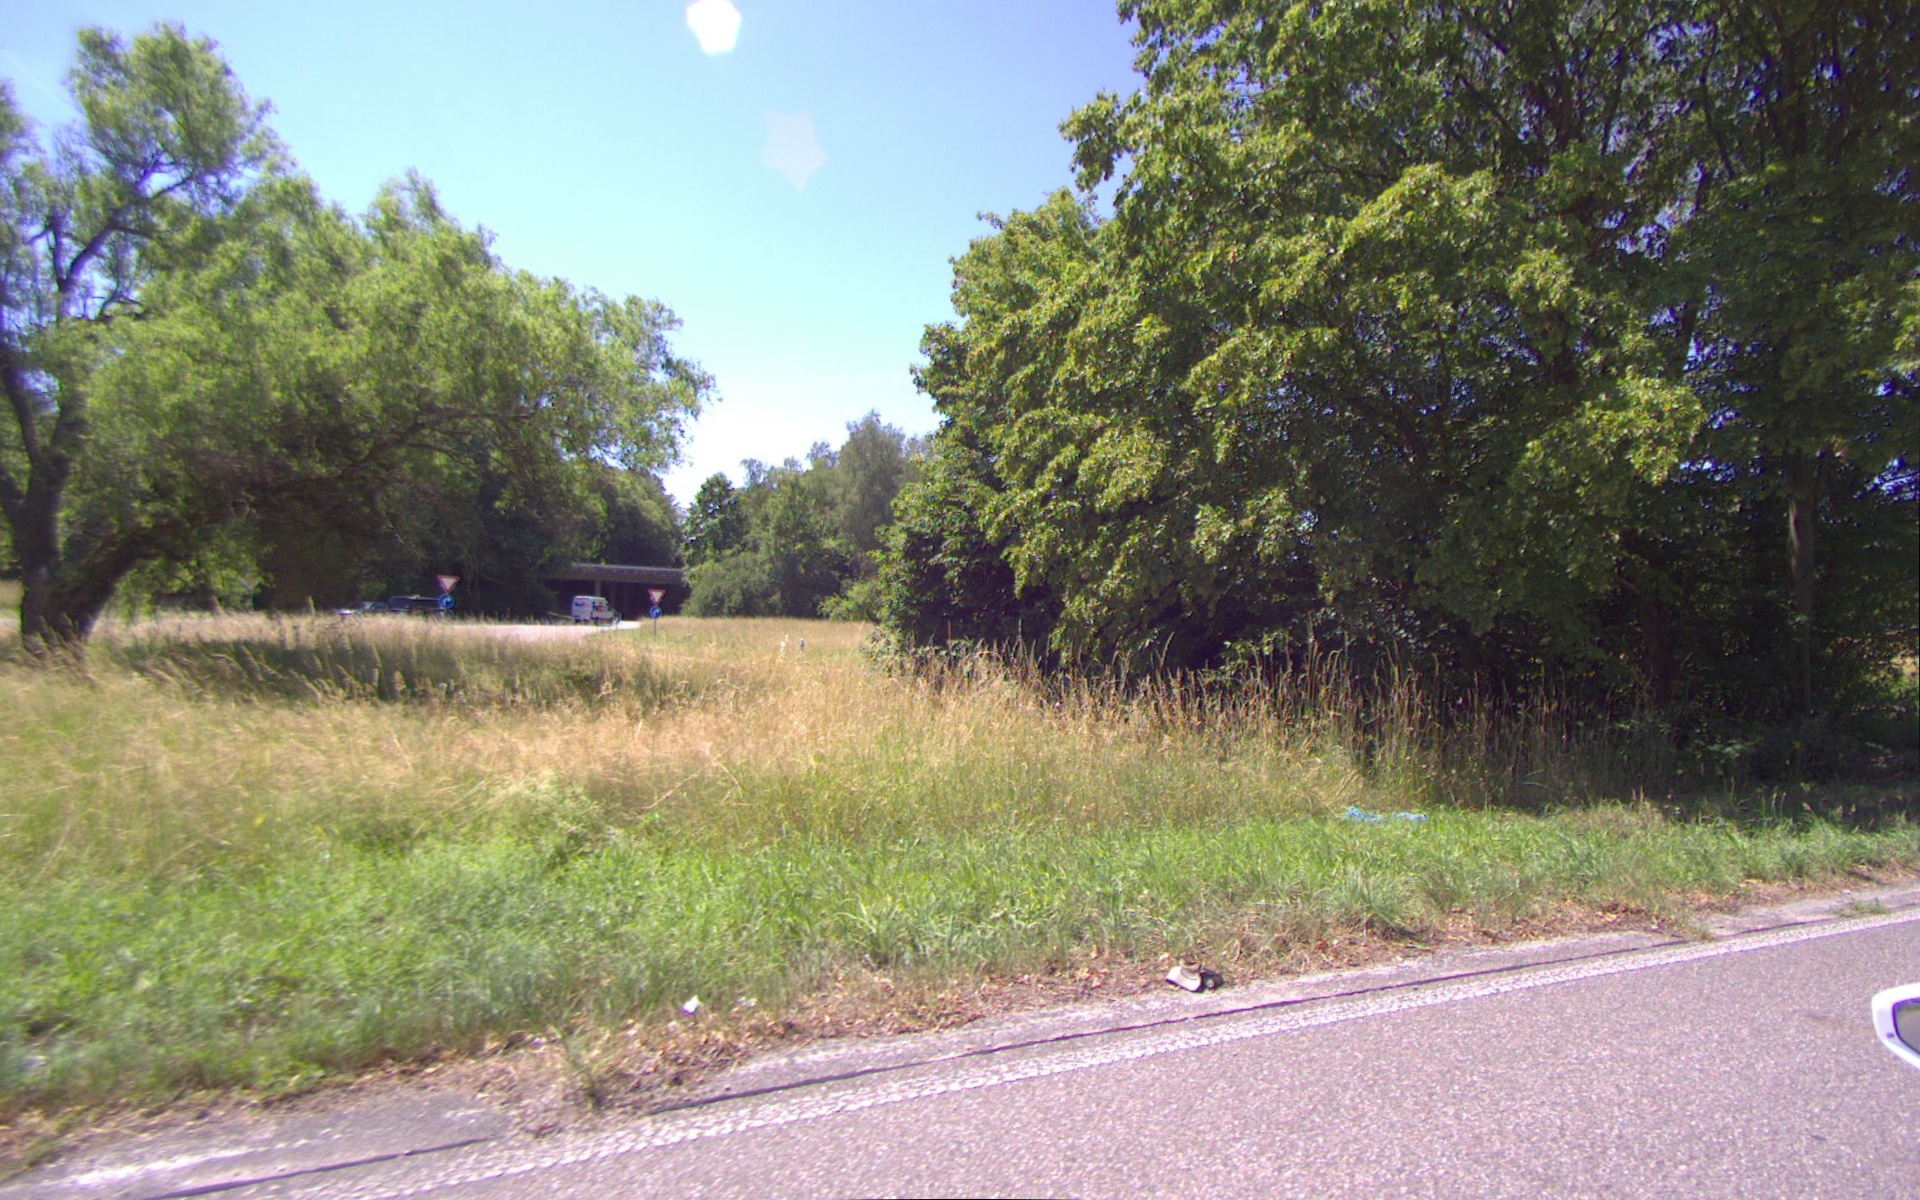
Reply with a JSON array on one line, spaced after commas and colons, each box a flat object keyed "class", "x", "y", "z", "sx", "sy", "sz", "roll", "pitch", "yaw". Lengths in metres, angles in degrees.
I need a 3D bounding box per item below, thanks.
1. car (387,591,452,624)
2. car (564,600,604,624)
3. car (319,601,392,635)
[{"class": "car", "x": -34.536, "y": 0.508, "z": 64.295, "sx": 1.961, "sy": 1.973, "sz": 4.089, "roll": 3, "pitch": -1, "yaw": -2}, {"class": "car", "x": -34.330, "y": 1.134, "z": 91.896, "sx": 2.219, "sy": 2.124, "sz": 3.999, "roll": 2, "pitch": -1, "yaw": -3}, {"class": "car", "x": -39.215, "y": 1.168, "z": 65.244, "sx": 1.960, "sy": 2.040, "sz": 4.003, "roll": 3, "pitch": -2, "yaw": 5}]
